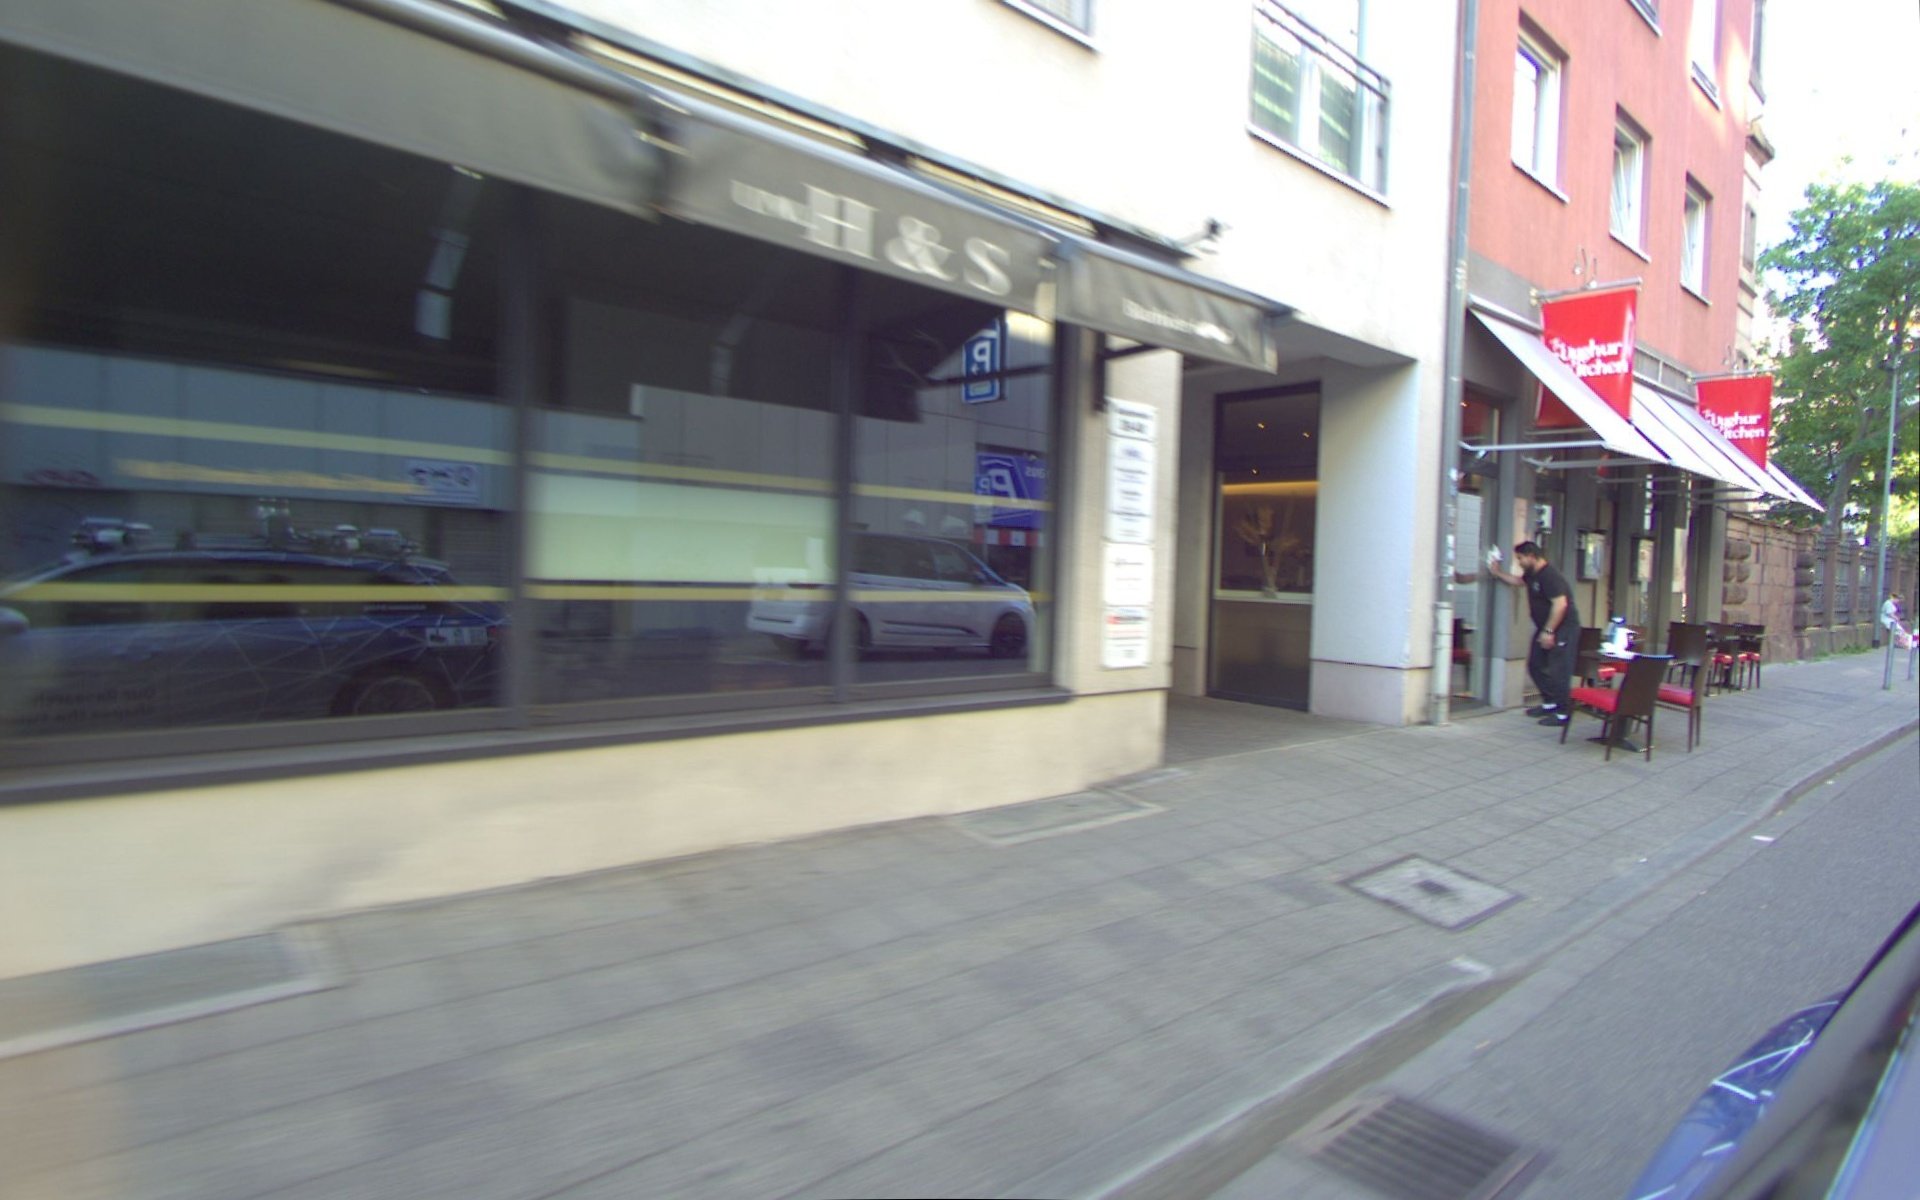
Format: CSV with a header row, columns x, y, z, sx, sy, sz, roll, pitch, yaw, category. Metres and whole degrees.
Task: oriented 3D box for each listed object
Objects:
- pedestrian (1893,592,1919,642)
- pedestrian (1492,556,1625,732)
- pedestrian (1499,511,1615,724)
x,y,z,sx,sy,sz,roll,pitch,yaw,category
25.419,0.459,26.822,0.356,1.264,0.927,0,4,-43,pedestrian
5.455,0.366,9.235,0.649,1.504,0.827,1,2,-41,pedestrian
5.399,0.127,9.204,0.653,1.813,0.725,5,4,23,pedestrian
